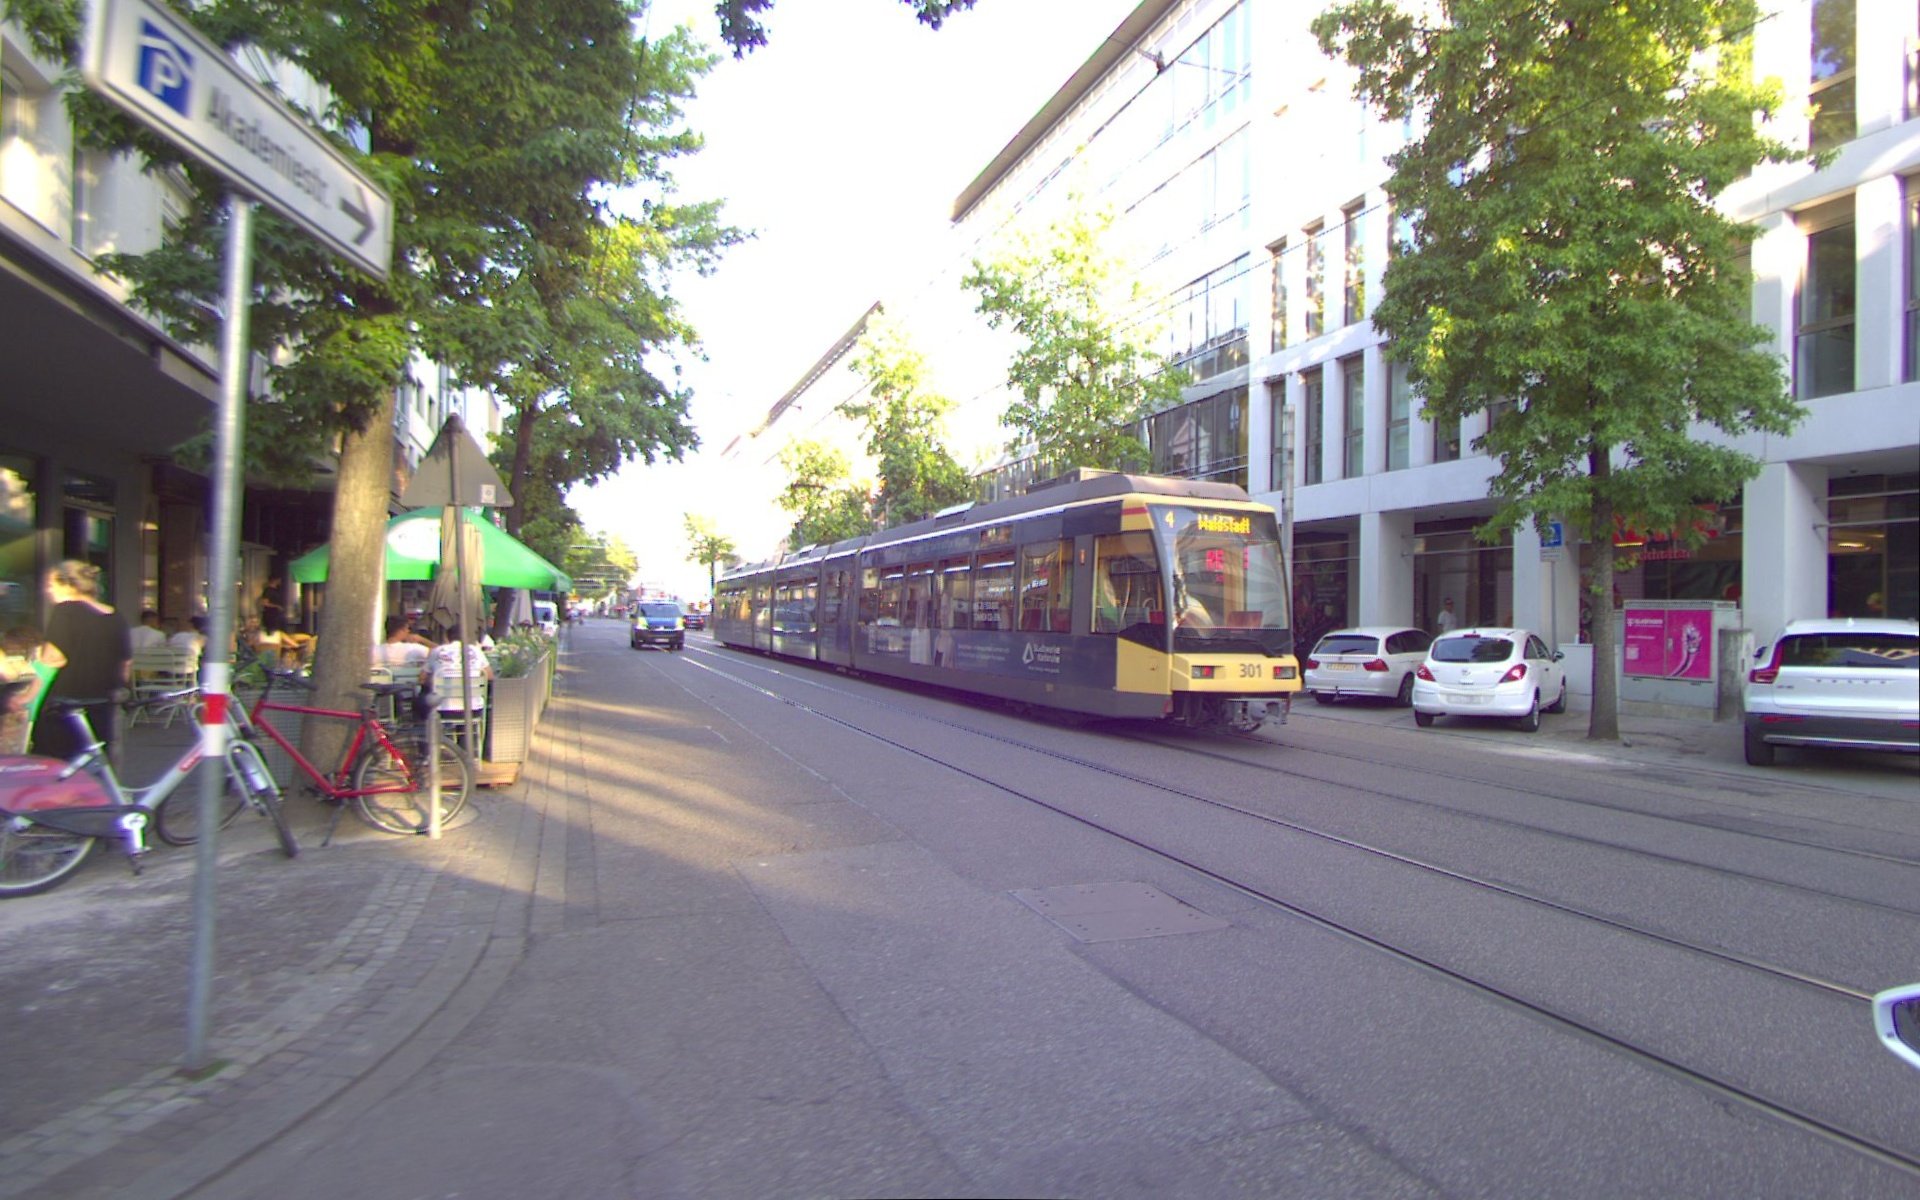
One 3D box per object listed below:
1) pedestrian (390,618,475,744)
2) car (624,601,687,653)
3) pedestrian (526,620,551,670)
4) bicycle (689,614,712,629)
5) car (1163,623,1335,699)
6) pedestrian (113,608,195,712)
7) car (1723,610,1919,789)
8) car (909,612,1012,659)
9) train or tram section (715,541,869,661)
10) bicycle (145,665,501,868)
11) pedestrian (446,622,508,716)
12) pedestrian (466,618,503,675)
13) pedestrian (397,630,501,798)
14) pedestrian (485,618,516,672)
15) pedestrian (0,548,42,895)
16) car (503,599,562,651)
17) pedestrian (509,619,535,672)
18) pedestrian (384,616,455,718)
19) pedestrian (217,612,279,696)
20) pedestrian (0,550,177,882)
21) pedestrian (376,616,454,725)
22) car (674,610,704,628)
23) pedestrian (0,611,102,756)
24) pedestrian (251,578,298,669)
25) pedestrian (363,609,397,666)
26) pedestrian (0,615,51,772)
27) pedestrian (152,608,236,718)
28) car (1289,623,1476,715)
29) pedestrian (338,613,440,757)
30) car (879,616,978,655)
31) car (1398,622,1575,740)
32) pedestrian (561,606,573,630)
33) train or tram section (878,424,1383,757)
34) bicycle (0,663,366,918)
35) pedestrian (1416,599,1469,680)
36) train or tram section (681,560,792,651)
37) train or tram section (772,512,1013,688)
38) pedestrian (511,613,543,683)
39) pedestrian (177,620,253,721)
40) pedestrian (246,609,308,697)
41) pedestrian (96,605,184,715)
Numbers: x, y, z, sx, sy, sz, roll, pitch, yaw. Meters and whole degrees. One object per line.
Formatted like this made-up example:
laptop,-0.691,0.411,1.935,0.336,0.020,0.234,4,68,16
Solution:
pedestrian,-6.019,0.905,11.503,0.707,1.380,0.868,2,-1,-20
car,-12.563,1.082,41.230,1.971,2.003,4.823,1,-1,-23
pedestrian,-10.992,1.177,26.183,0.545,1.283,0.638,2,-2,-21
bicycle,-27.868,2.336,107.914,2.305,1.491,0.786,2,-2,-26
car,6.772,1.334,23.321,4.320,1.441,1.930,-2,0,-44
pedestrian,-11.241,0.832,14.037,0.647,1.396,0.762,2,-2,-21
car,10.636,1.033,12.021,1.925,1.694,4.247,-2,-1,43
car,0.069,1.345,39.270,1.846,1.584,4.329,-1,0,35
train or tram section,-6.268,0.132,35.489,2.970,3.570,10.787,1,-1,-22
bicycle,-4.013,1.017,6.518,1.841,1.154,0.623,2,-2,-25
pedestrian,-7.378,1.038,15.382,0.707,1.380,1.007,2,-1,-20
pedestrian,-10.943,1.076,23.125,0.700,1.281,0.597,2,-2,-22
pedestrian,-4.499,0.977,8.898,0.685,1.395,0.789,2,-1,-20
pedestrian,-11.819,1.157,25.842,0.636,1.363,0.727,2,-2,-20
pedestrian,-5.282,0.610,5.095,0.631,1.764,0.778,0,-2,37
car,-16.423,0.976,38.782,1.773,1.842,4.496,3,-2,-20
pedestrian,-11.744,1.226,26.935,0.573,1.396,0.562,2,-2,-21
pedestrian,-7.634,0.933,14.221,0.707,1.380,0.920,2,-1,-20
pedestrian,-12.166,0.915,17.189,0.647,1.396,0.762,2,-2,-21
pedestrian,-5.193,0.629,5.827,0.629,1.764,0.781,0,-2,26
pedestrian,-7.164,0.909,13.246,0.707,1.380,1.007,2,-1,-20
car,-23.338,1.636,86.324,1.886,1.570,3.976,0,-1,-25
pedestrian,-9.013,0.779,9.658,0.837,1.337,0.878,2,-2,-18
pedestrian,-13.804,0.477,20.231,0.651,1.789,0.757,2,-2,-40
pedestrian,-14.599,0.947,25.296,0.598,1.396,0.645,2,-2,-21
pedestrian,-8.656,0.789,8.667,0.874,1.337,0.878,2,-2,-19
pedestrian,-10.146,0.825,13.327,0.647,1.396,0.762,2,-2,-21
car,8.327,1.242,19.612,4.320,1.442,1.805,-2,0,-44
pedestrian,-5.775,0.832,10.205,0.707,1.380,0.920,2,-1,-20
car,-1.337,1.499,43.626,1.839,1.477,4.157,-1,0,45
car,8.597,1.196,16.238,1.769,1.521,4.050,-2,0,39
pedestrian,-31.249,1.433,79.925,0.743,1.904,0.572,4,-3,-26
train or tram section,1.704,0.011,16.139,2.983,3.570,10.315,1,-1,-22
bicycle,-4.380,0.935,5.419,0.769,1.154,1.858,0,-2,40
pedestrian,10.952,0.884,22.819,0.671,1.795,0.803,2,0,-16
train or tram section,-10.319,0.307,45.330,3.011,3.570,10.474,2,-2,-22
train or tram section,-2.236,0.108,25.708,2.974,3.570,10.346,2,-1,-22
pedestrian,-8.796,0.977,20.424,0.541,1.396,0.562,2,-2,-21
pedestrian,-10.607,0.988,14.323,0.647,1.396,0.762,2,-2,-21
pedestrian,-11.252,0.869,16.575,0.647,1.396,0.762,2,-2,-21
pedestrian,-10.809,0.787,13.263,0.647,1.396,0.762,2,-2,-21
